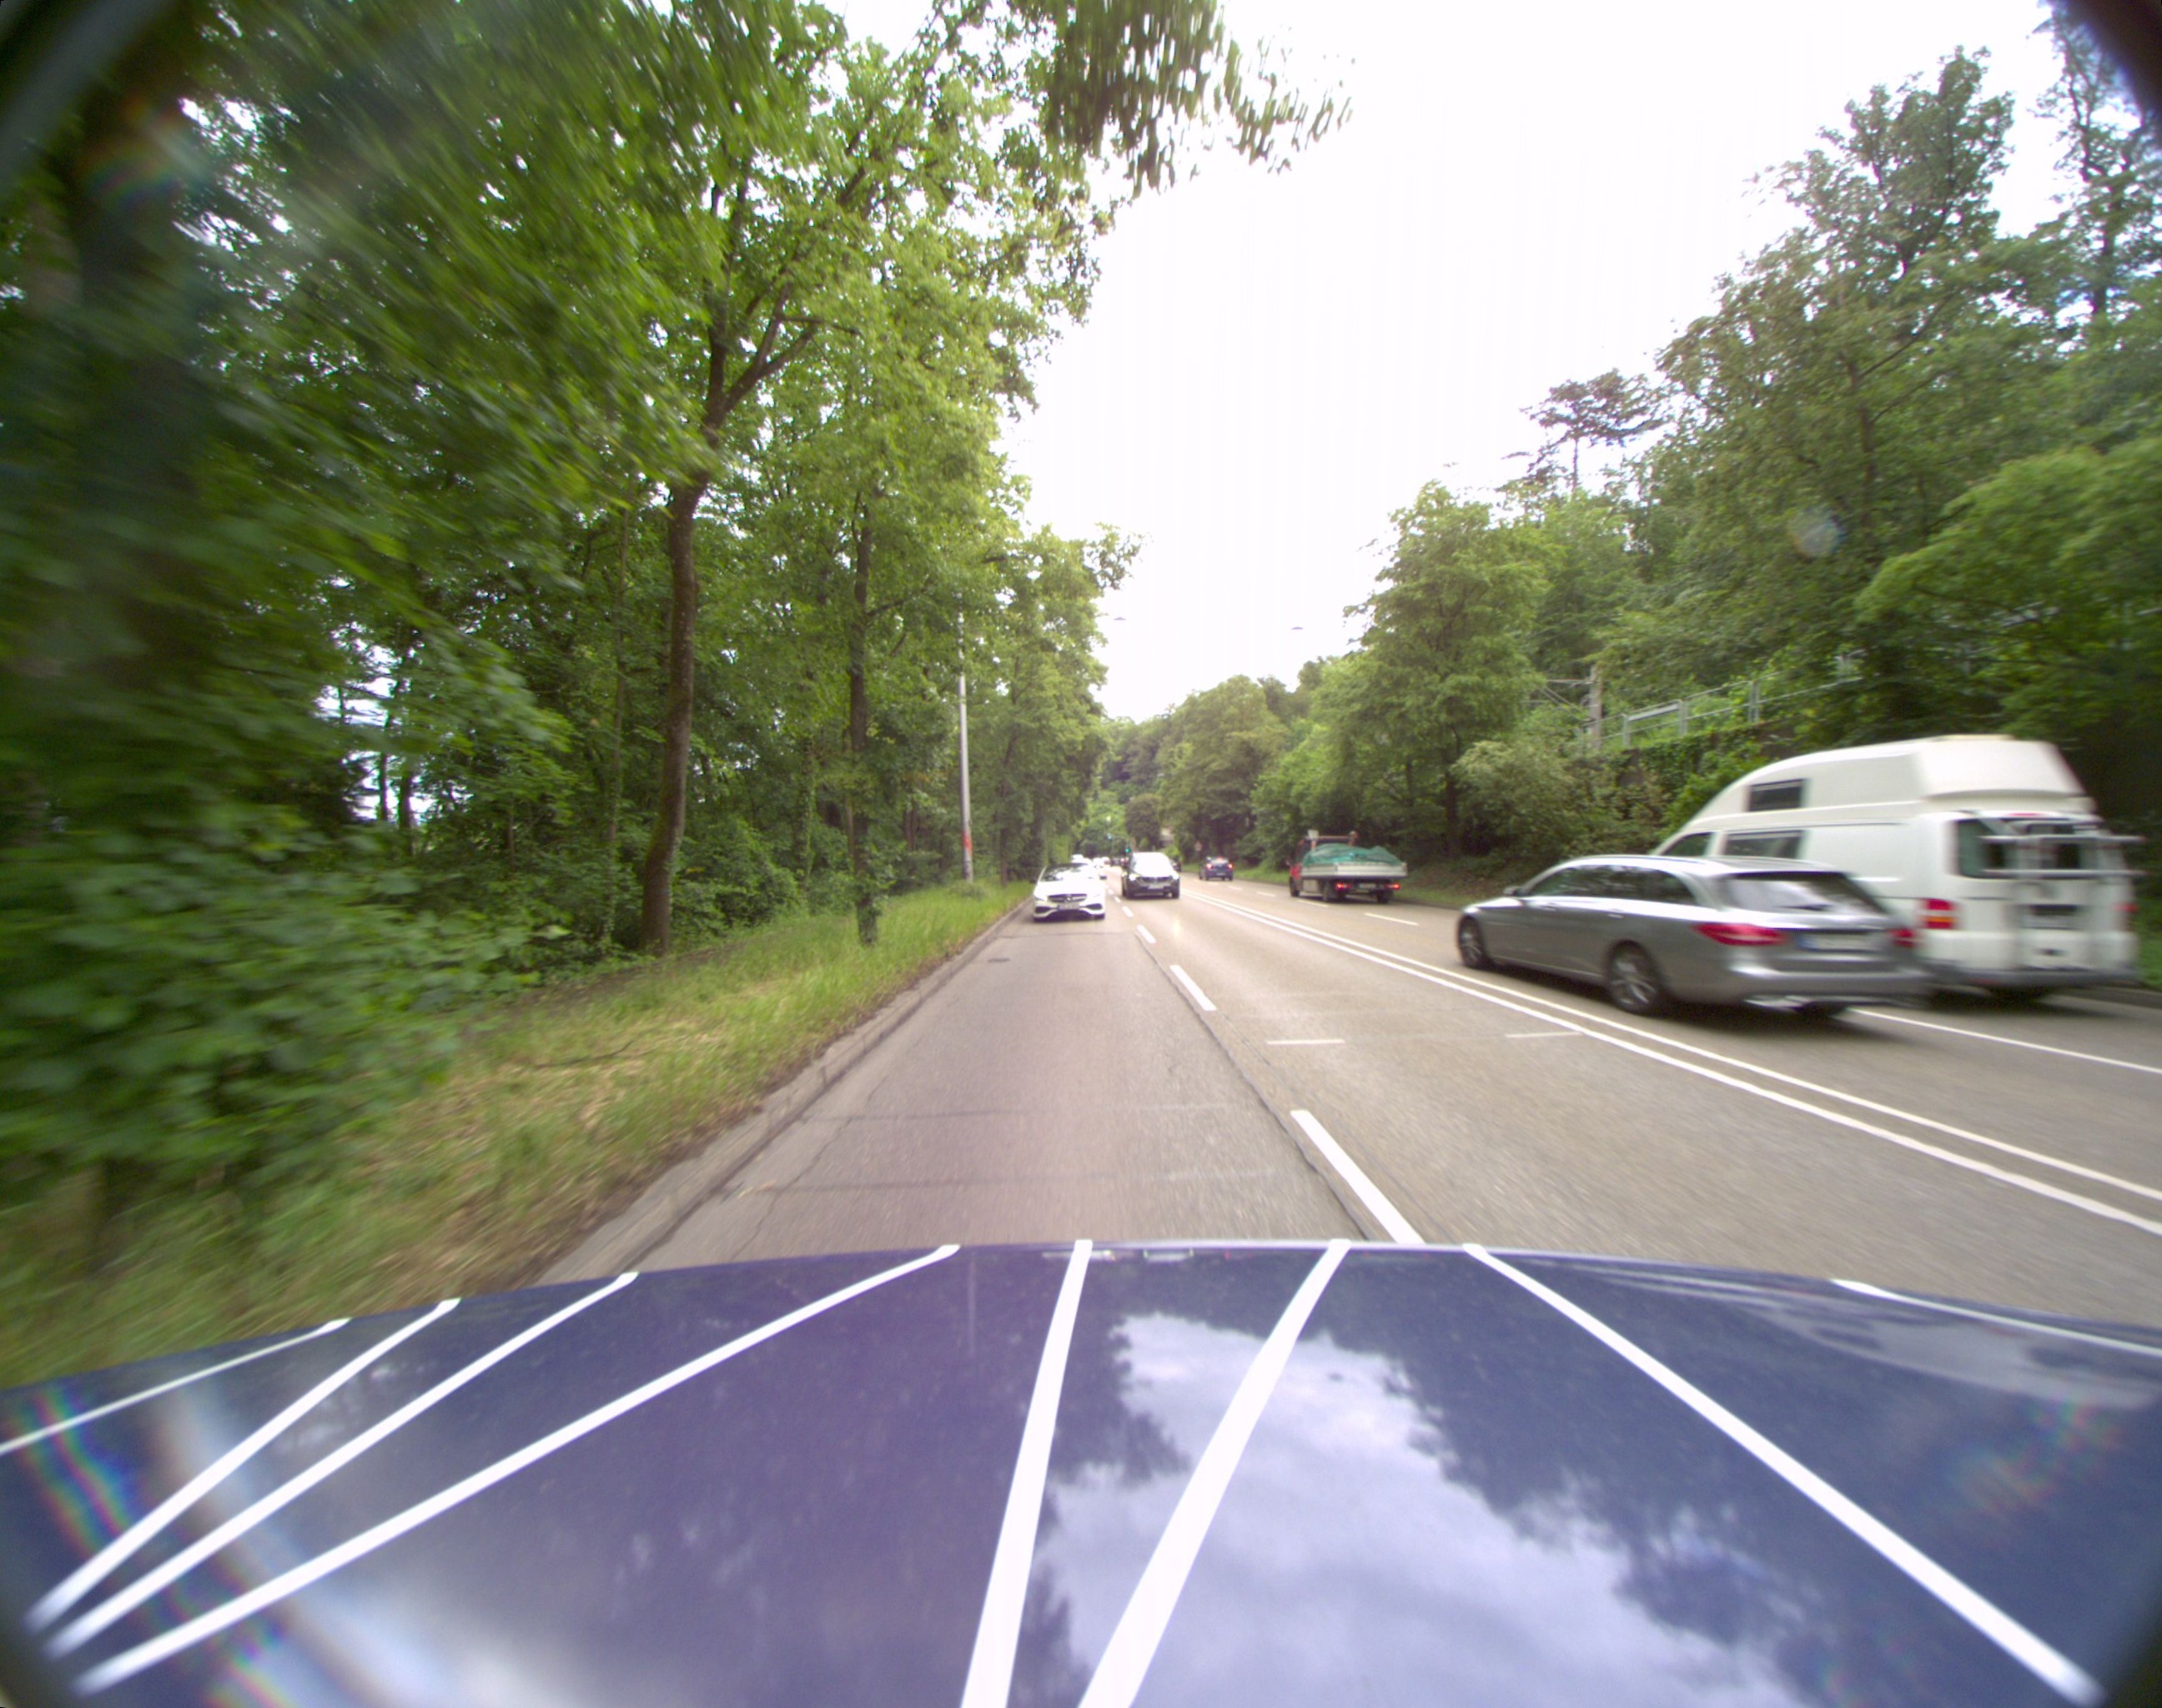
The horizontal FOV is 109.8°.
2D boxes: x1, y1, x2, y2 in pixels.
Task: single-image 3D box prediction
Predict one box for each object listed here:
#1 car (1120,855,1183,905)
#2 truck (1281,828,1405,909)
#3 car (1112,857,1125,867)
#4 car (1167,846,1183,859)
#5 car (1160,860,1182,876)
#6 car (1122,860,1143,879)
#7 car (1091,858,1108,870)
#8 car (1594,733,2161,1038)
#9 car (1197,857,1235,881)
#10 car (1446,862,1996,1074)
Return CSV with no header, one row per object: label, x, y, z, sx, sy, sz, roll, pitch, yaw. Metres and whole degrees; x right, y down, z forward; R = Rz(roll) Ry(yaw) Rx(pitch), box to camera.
car,2.510,0.895,27.949,1.871,1.653,4.192,1,0,0
truck,8.774,0.425,26.212,2.182,2.397,6.465,1,0,2
car,5.859,1.256,119.020,1.802,1.543,4.000,-2,0,0
car,12.453,-0.202,100.591,1.662,1.762,4.135,1,0,0
car,8.961,1.356,75.856,1.737,1.502,4.433,0,0,1
car,5.873,1.740,86.645,1.691,1.452,4.000,-22,0,0
car,2.873,1.481,116.556,1.699,1.732,3.996,-2,0,-11
car,8.588,0.264,8.850,1.892,2.541,4.914,1,0,1
car,8.627,0.940,48.739,1.674,1.477,3.999,0,0,-1
car,5.740,0.859,7.776,1.843,1.457,4.466,1,0,0
